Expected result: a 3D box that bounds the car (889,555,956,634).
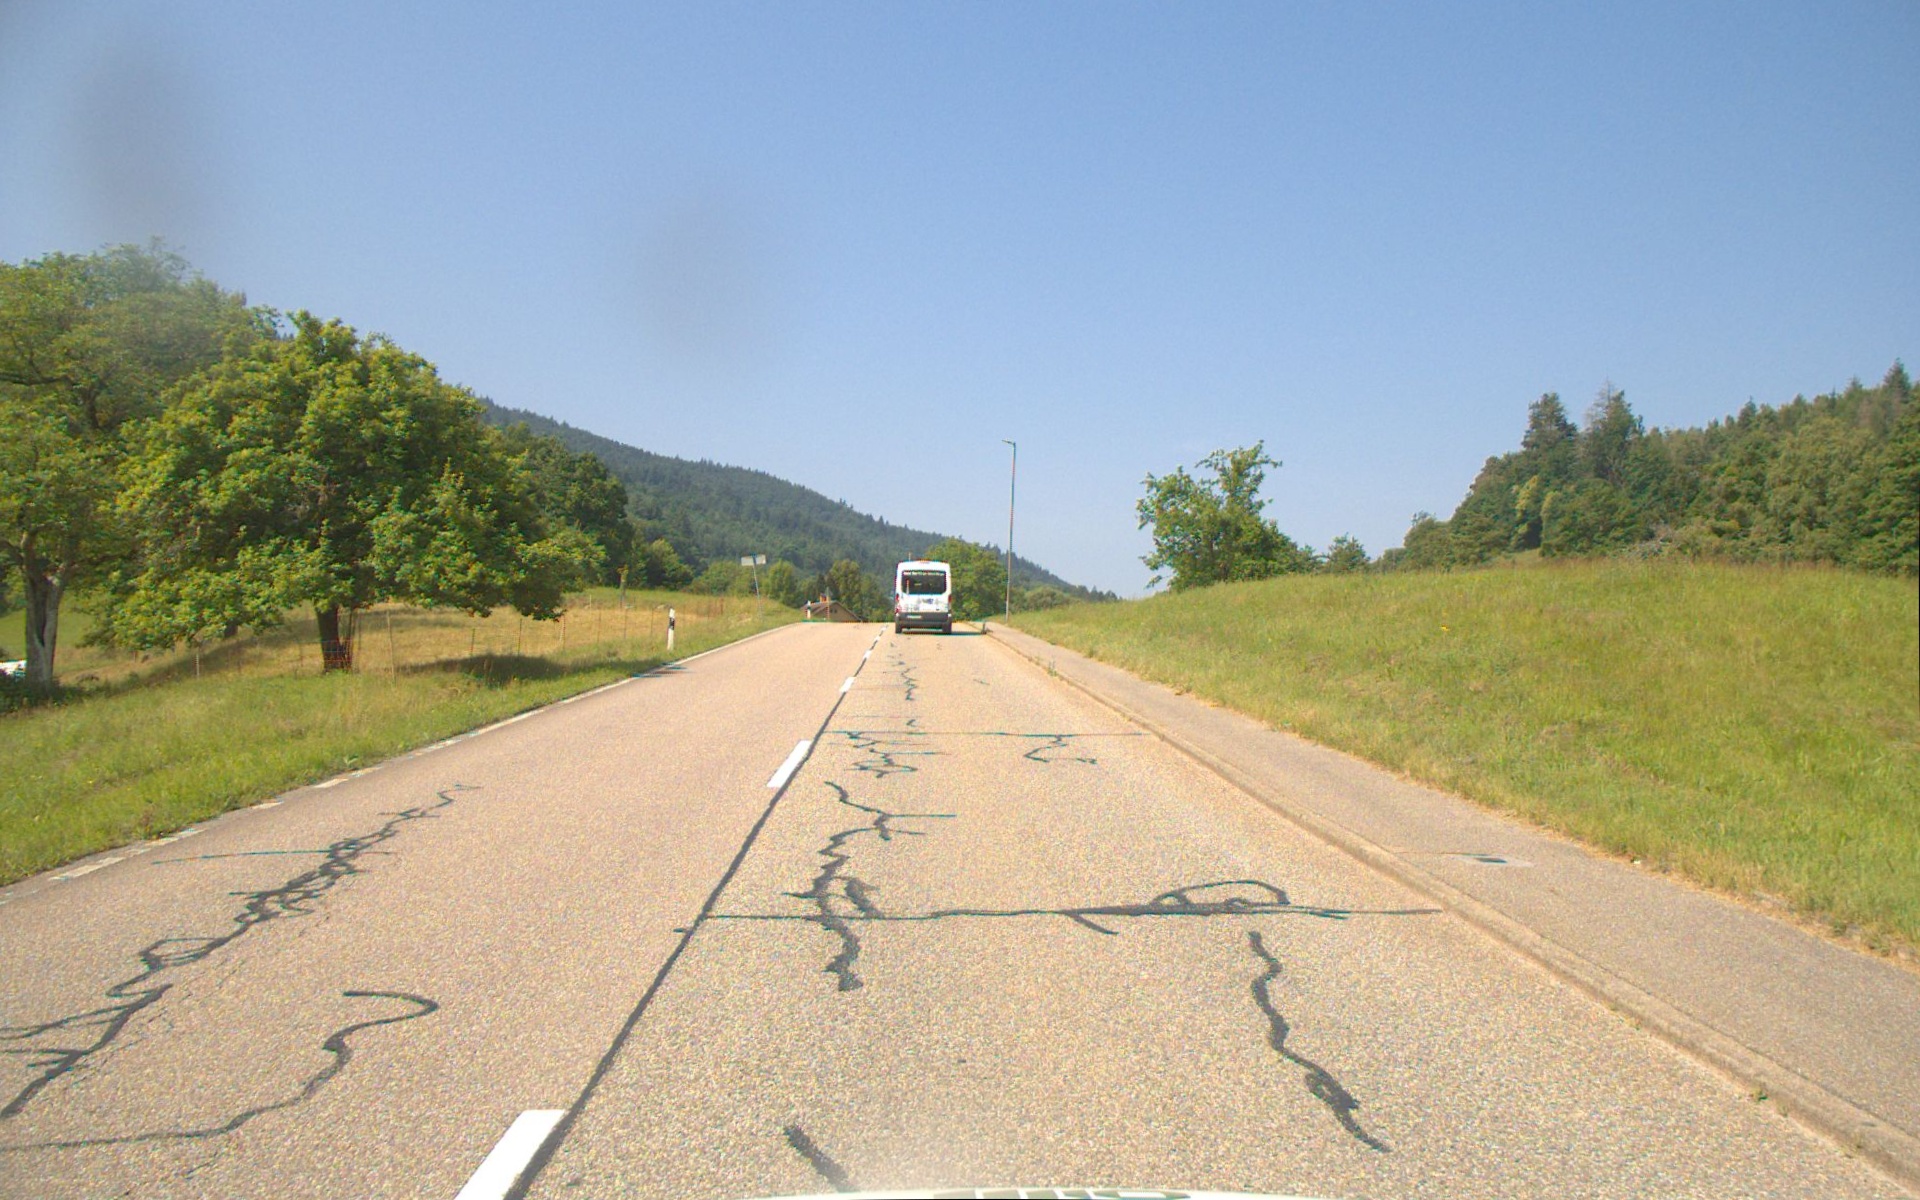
[{"bbox_3d":[-1.354,-0.133,58.633,2.178,2.570,4.982,-2,-2,-2],"label":"car"}]
